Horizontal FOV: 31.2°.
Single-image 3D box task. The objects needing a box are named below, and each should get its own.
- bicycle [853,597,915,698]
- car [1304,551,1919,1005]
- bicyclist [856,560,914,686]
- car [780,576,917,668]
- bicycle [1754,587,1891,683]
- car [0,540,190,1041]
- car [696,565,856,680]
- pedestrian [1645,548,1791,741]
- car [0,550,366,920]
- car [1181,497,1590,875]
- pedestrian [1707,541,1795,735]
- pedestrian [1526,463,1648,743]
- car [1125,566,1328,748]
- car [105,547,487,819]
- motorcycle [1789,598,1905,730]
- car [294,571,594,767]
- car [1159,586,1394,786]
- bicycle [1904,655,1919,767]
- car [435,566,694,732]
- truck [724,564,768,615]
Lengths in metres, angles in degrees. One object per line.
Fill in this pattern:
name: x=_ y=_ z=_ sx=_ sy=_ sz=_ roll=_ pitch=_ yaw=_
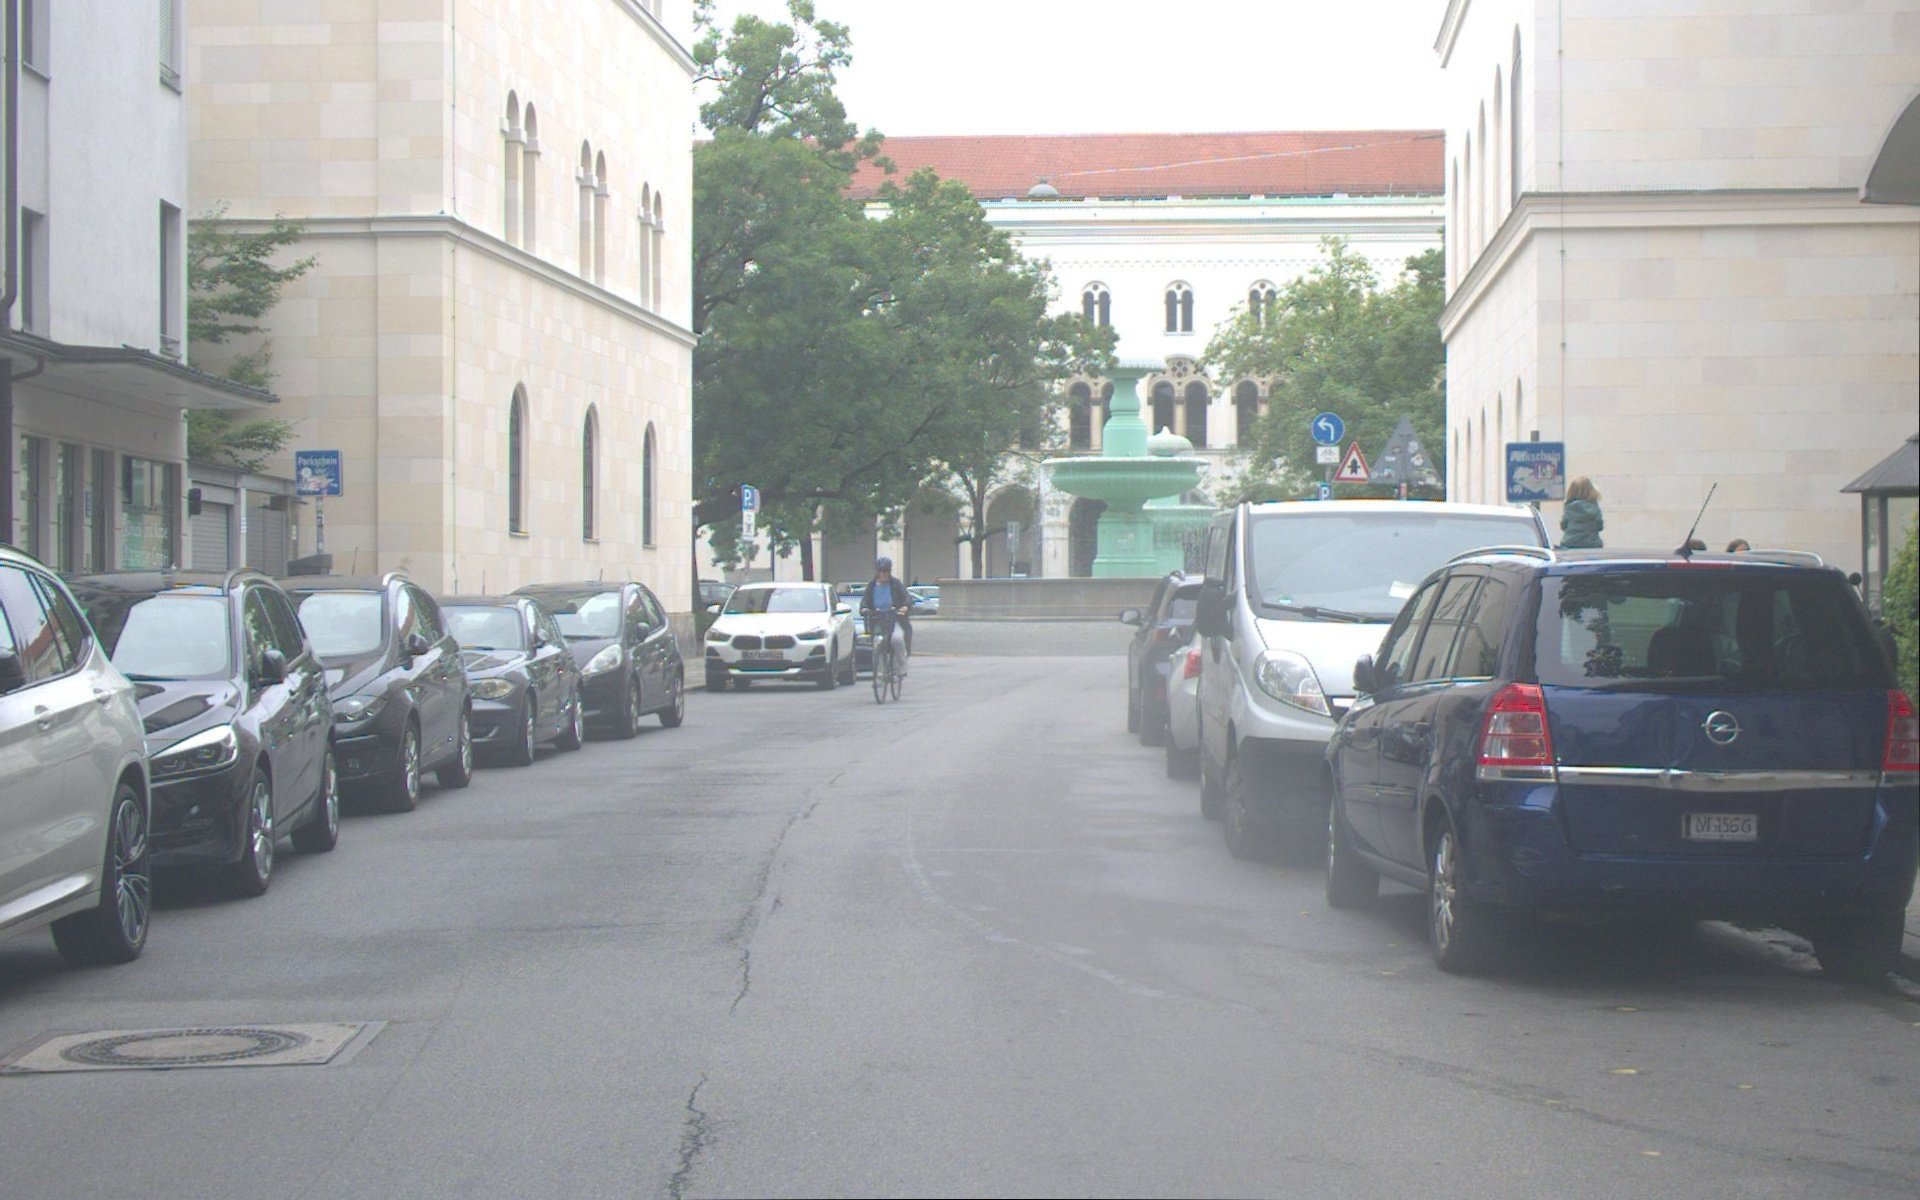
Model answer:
bicycle: x=-0.929 y=0.573 z=42.516 sx=0.648 sy=1.193 sz=1.950 roll=-1 pitch=0 yaw=2
car: x=2.616 y=0.597 z=14.202 sx=1.807 sy=1.595 sz=4.215 roll=0 pitch=1 yaw=-2
bicyclist: x=-0.924 y=0.280 z=42.652 sx=0.657 sy=1.545 sz=0.887 roll=0 pitch=0 yaw=2
car: x=-1.765 y=0.353 z=55.690 sx=1.699 sy=1.388 sz=4.211 roll=-1 pitch=0 yaw=5
bicycle: x=9.651 y=0.391 z=38.490 sx=1.429 sy=1.038 sz=0.348 roll=-1 pitch=0 yaw=4
car: x=-4.174 y=0.650 z=12.273 sx=1.872 sy=1.652 sz=4.591 roll=-2 pitch=1 yaw=-1
car: x=-2.594 y=0.318 z=49.346 sx=1.778 sy=1.529 sz=4.211 roll=-1 pitch=0 yaw=4
pedestrian: x=6.165 y=0.349 z=27.988 sx=0.949 sy=1.542 sz=0.674 roll=0 pitch=1 yaw=-16
car: x=-4.380 y=0.604 z=18.277 sx=1.872 sy=1.652 sz=4.591 roll=-2 pitch=1 yaw=-4
car: x=2.318 y=0.407 z=19.915 sx=1.882 sy=1.918 sz=4.874 roll=0 pitch=1 yaw=1
pedestrian: x=6.753 y=0.309 z=29.367 sx=0.588 sy=1.627 sz=0.877 roll=1 pitch=1 yaw=5
pedestrian: x=4.994 y=0.016 z=27.418 sx=0.793 sy=2.190 sz=0.814 roll=1 pitch=1 yaw=-1
car: x=2.442 y=0.488 z=32.297 sx=1.747 sy=1.588 sz=3.955 roll=1 pitch=0 yaw=2
car: x=-4.501 y=0.495 z=23.902 sx=1.872 sy=1.652 sz=4.080 roll=-2 pitch=1 yaw=-1
motorcycle: x=7.527 y=0.530 z=29.226 sx=0.488 sy=1.050 sz=1.924 roll=1 pitch=1 yaw=0
car: x=-4.315 y=0.532 z=29.334 sx=1.750 sy=1.448 sz=4.015 roll=-2 pitch=1 yaw=3
car: x=2.434 y=0.622 z=27.260 sx=1.673 sy=1.412 sz=4.201 roll=1 pitch=1 yaw=3
bicycle: x=7.332 y=0.823 z=24.888 sx=0.516 sy=0.815 sz=1.434 roll=-1 pitch=1 yaw=-4
car: x=-3.847 y=0.443 z=34.087 sx=1.751 sy=1.448 sz=4.015 roll=-1 pitch=1 yaw=5
truck: x=-10.849 y=-0.538 z=173.838 sx=1.993 sy=2.480 sz=4.001 roll=1 pitch=1 yaw=-6
